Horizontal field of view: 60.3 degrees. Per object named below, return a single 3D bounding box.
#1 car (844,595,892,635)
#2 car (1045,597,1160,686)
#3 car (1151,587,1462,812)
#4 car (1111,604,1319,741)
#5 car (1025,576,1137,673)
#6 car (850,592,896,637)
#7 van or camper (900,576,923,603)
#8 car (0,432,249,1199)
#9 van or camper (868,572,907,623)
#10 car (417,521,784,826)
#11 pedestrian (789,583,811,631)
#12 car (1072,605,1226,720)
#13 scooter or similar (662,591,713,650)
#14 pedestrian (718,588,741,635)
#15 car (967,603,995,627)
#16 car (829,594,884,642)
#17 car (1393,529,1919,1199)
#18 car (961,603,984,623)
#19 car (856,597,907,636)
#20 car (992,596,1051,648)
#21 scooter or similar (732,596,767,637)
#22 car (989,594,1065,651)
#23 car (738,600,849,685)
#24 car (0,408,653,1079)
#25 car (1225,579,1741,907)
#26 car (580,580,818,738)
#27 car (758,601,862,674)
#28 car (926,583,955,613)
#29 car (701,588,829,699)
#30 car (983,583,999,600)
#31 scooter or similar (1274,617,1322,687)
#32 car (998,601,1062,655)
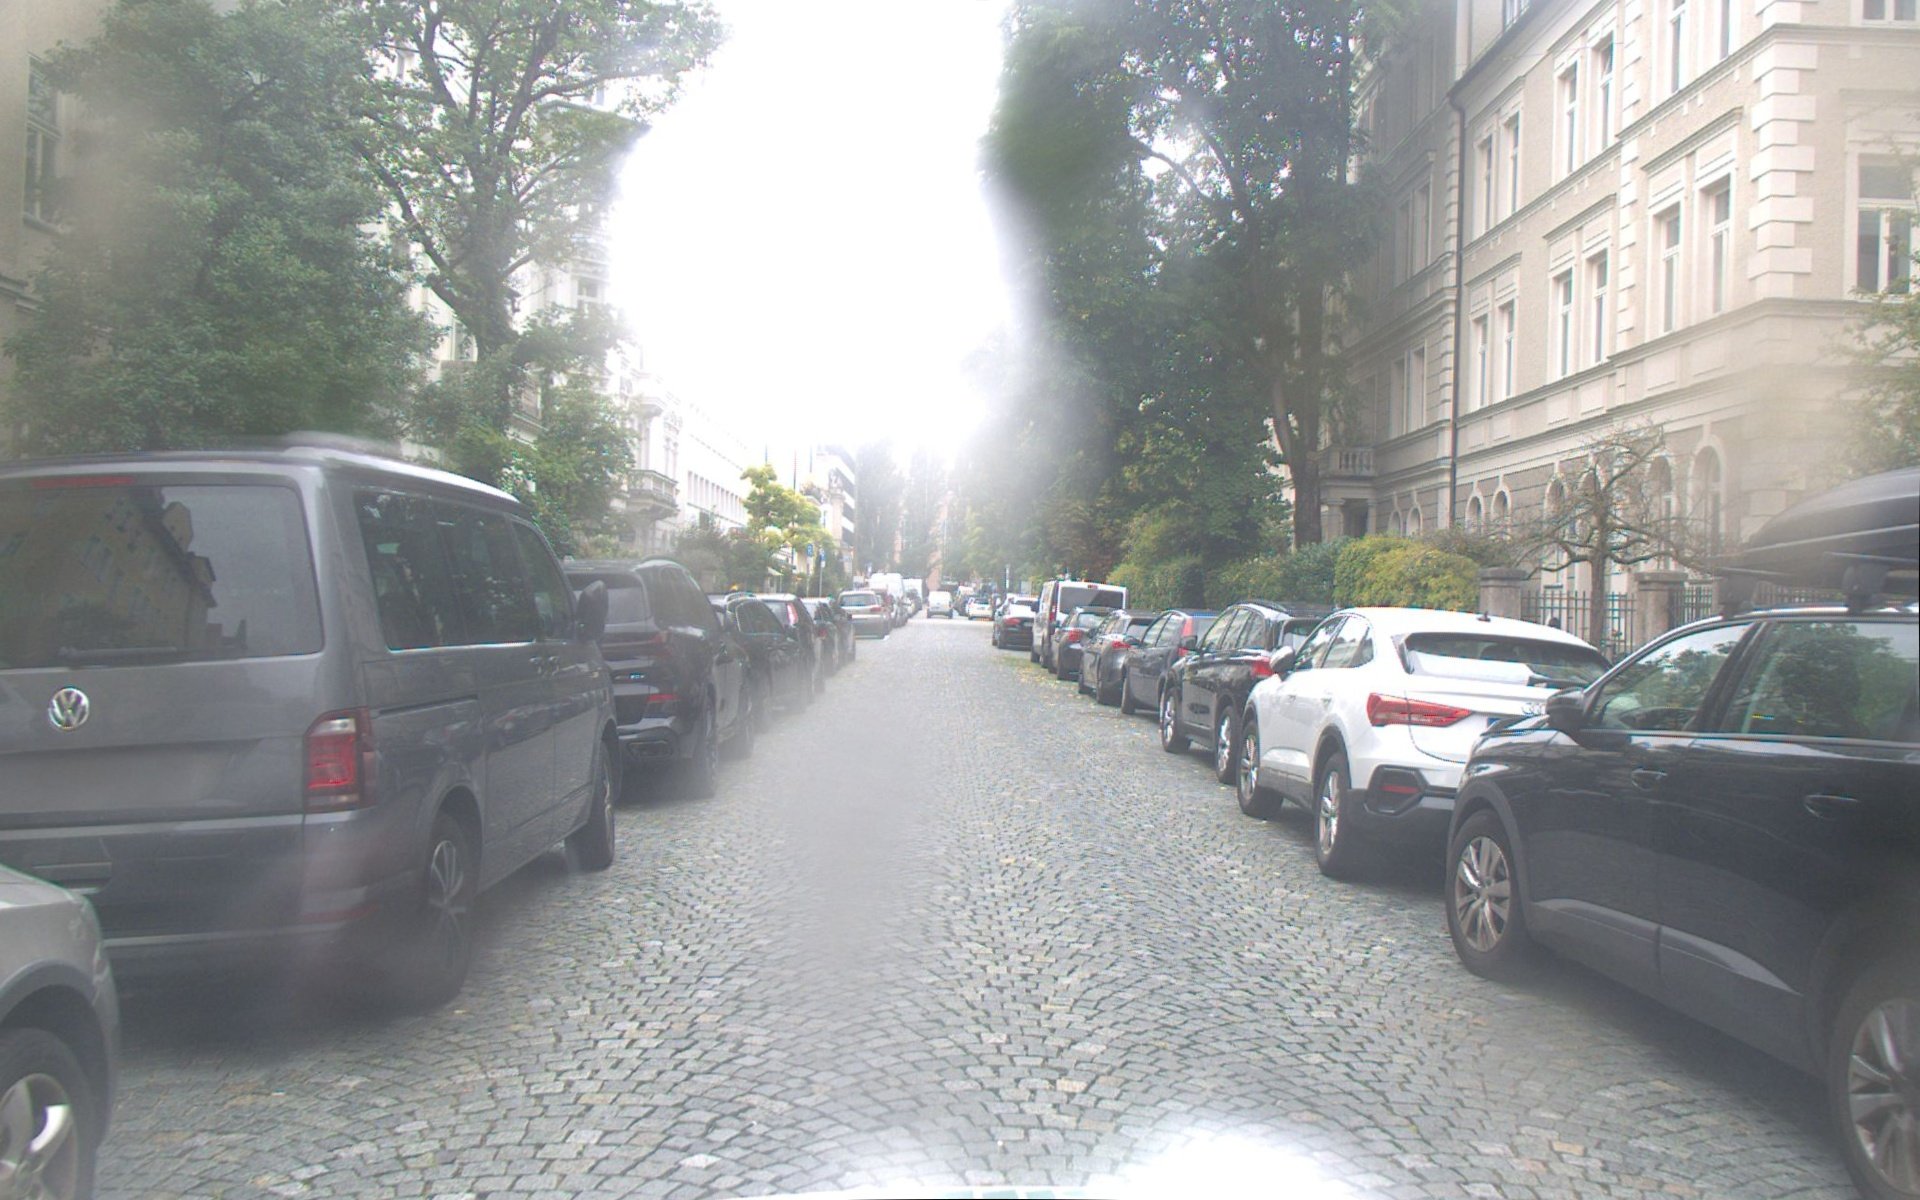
[{"bbox_3d":[-3.563,0.566,64.301,1.836,1.476,4.205,0,0,-3],"label":"car"},{"bbox_3d":[2.757,0.778,32.884,1.800,1.516,4.421,4,0,0],"label":"car"},{"bbox_3d":[3.090,0.815,15.783,1.835,1.698,4.656,4,0,-1],"label":"car"},{"bbox_3d":[3.175,0.859,21.396,1.661,1.465,4.057,4,0,-5],"label":"car"},{"bbox_3d":[2.725,0.537,38.358,1.836,1.961,5.161,4,0,-3],"label":"car"},{"bbox_3d":[-3.692,0.583,70.606,1.835,1.807,4.121,-2,0,-2],"label":"car"},{"bbox_3d":[-5.168,-1.087,175.504,2.210,2.790,5.097,3,0,-1],"label":"van or camper"},{"bbox_3d":[-2.698,0.573,2.170,1.828,1.765,4.400,-1,0,-3],"label":"car"},{"bbox_3d":[-3.981,-0.113,90.962,1.953,2.698,4.000,-1,0,0],"label":"van or camper"},{"bbox_3d":[-2.635,0.482,13.466,1.953,1.950,5.175,-2,0,-2],"label":"car"},{"bbox_3d":[-6.617,0.289,68.484,0.776,1.951,0.758,3,0,-1],"label":"pedestrian"},{"bbox_3d":[2.851,0.900,25.778,1.679,1.498,4.267,4,0,-2],"label":"car"},{"bbox_3d":[-7.196,0.516,43.812,0.922,1.467,2.655,3,0,-2],"label":"scooter or similar"},{"bbox_3d":[-8.512,0.424,61.020,0.703,1.717,0.695,2,0,-1],"label":"pedestrian"},{"bbox_3d":[1.412,1.004,112.162,1.753,1.547,4.000,2,0,0],"label":"car"},{"bbox_3d":[-3.604,0.616,58.246,1.836,1.607,4.253,-1,0,-3],"label":"car"},{"bbox_3d":[3.198,0.782,5.674,1.836,1.765,4.744,5,0,-3],"label":"car"},{"bbox_3d":[0.966,1.019,132.716,1.753,1.547,4.000,2,0,0],"label":"car"},{"bbox_3d":[-3.573,0.758,76.012,1.834,1.607,4.209,4,0,2],"label":"car"},{"bbox_3d":[2.274,0.803,62.298,1.835,1.763,4.592,5,0,-1],"label":"car"},{"bbox_3d":[-7.690,0.590,60.516,0.922,1.467,2.656,2,0,-1],"label":"scooter or similar"},{"bbox_3d":[2.007,0.652,50.575,1.836,1.529,4.509,4,0,-3],"label":"car"},{"bbox_3d":[-3.074,0.742,31.308,1.747,1.442,4.495,-1,0,-2],"label":"car"},{"bbox_3d":[-2.652,0.420,7.245,1.835,1.951,4.825,0,0,-2],"label":"car"},{"bbox_3d":[2.995,0.705,10.618,1.835,1.516,4.617,4,0,1],"label":"car"},{"bbox_3d":[-2.827,0.594,19.089,1.938,1.588,5.017,0,0,0],"label":"car"},{"bbox_3d":[-3.199,0.769,36.050,1.848,1.442,4.406,-1,0,0],"label":"car"},{"bbox_3d":[-1.378,-0.119,116.830,1.953,2.049,4.000,2,0,0],"label":"car"},{"bbox_3d":[-2.762,0.584,24.128,1.629,1.469,4.168,1,0,-4],"label":"car"},{"bbox_3d":[4.026,-1.136,215.100,1.953,2.049,3.999,2,-1,0],"label":"car"},{"bbox_3d":[6.358,0.961,31.169,0.407,1.256,1.242,-1,0,-12],"label":"scooter or similar"},{"bbox_3d":[2.324,0.904,55.793,1.781,1.607,4.207,5,0,-1],"label":"car"}]
